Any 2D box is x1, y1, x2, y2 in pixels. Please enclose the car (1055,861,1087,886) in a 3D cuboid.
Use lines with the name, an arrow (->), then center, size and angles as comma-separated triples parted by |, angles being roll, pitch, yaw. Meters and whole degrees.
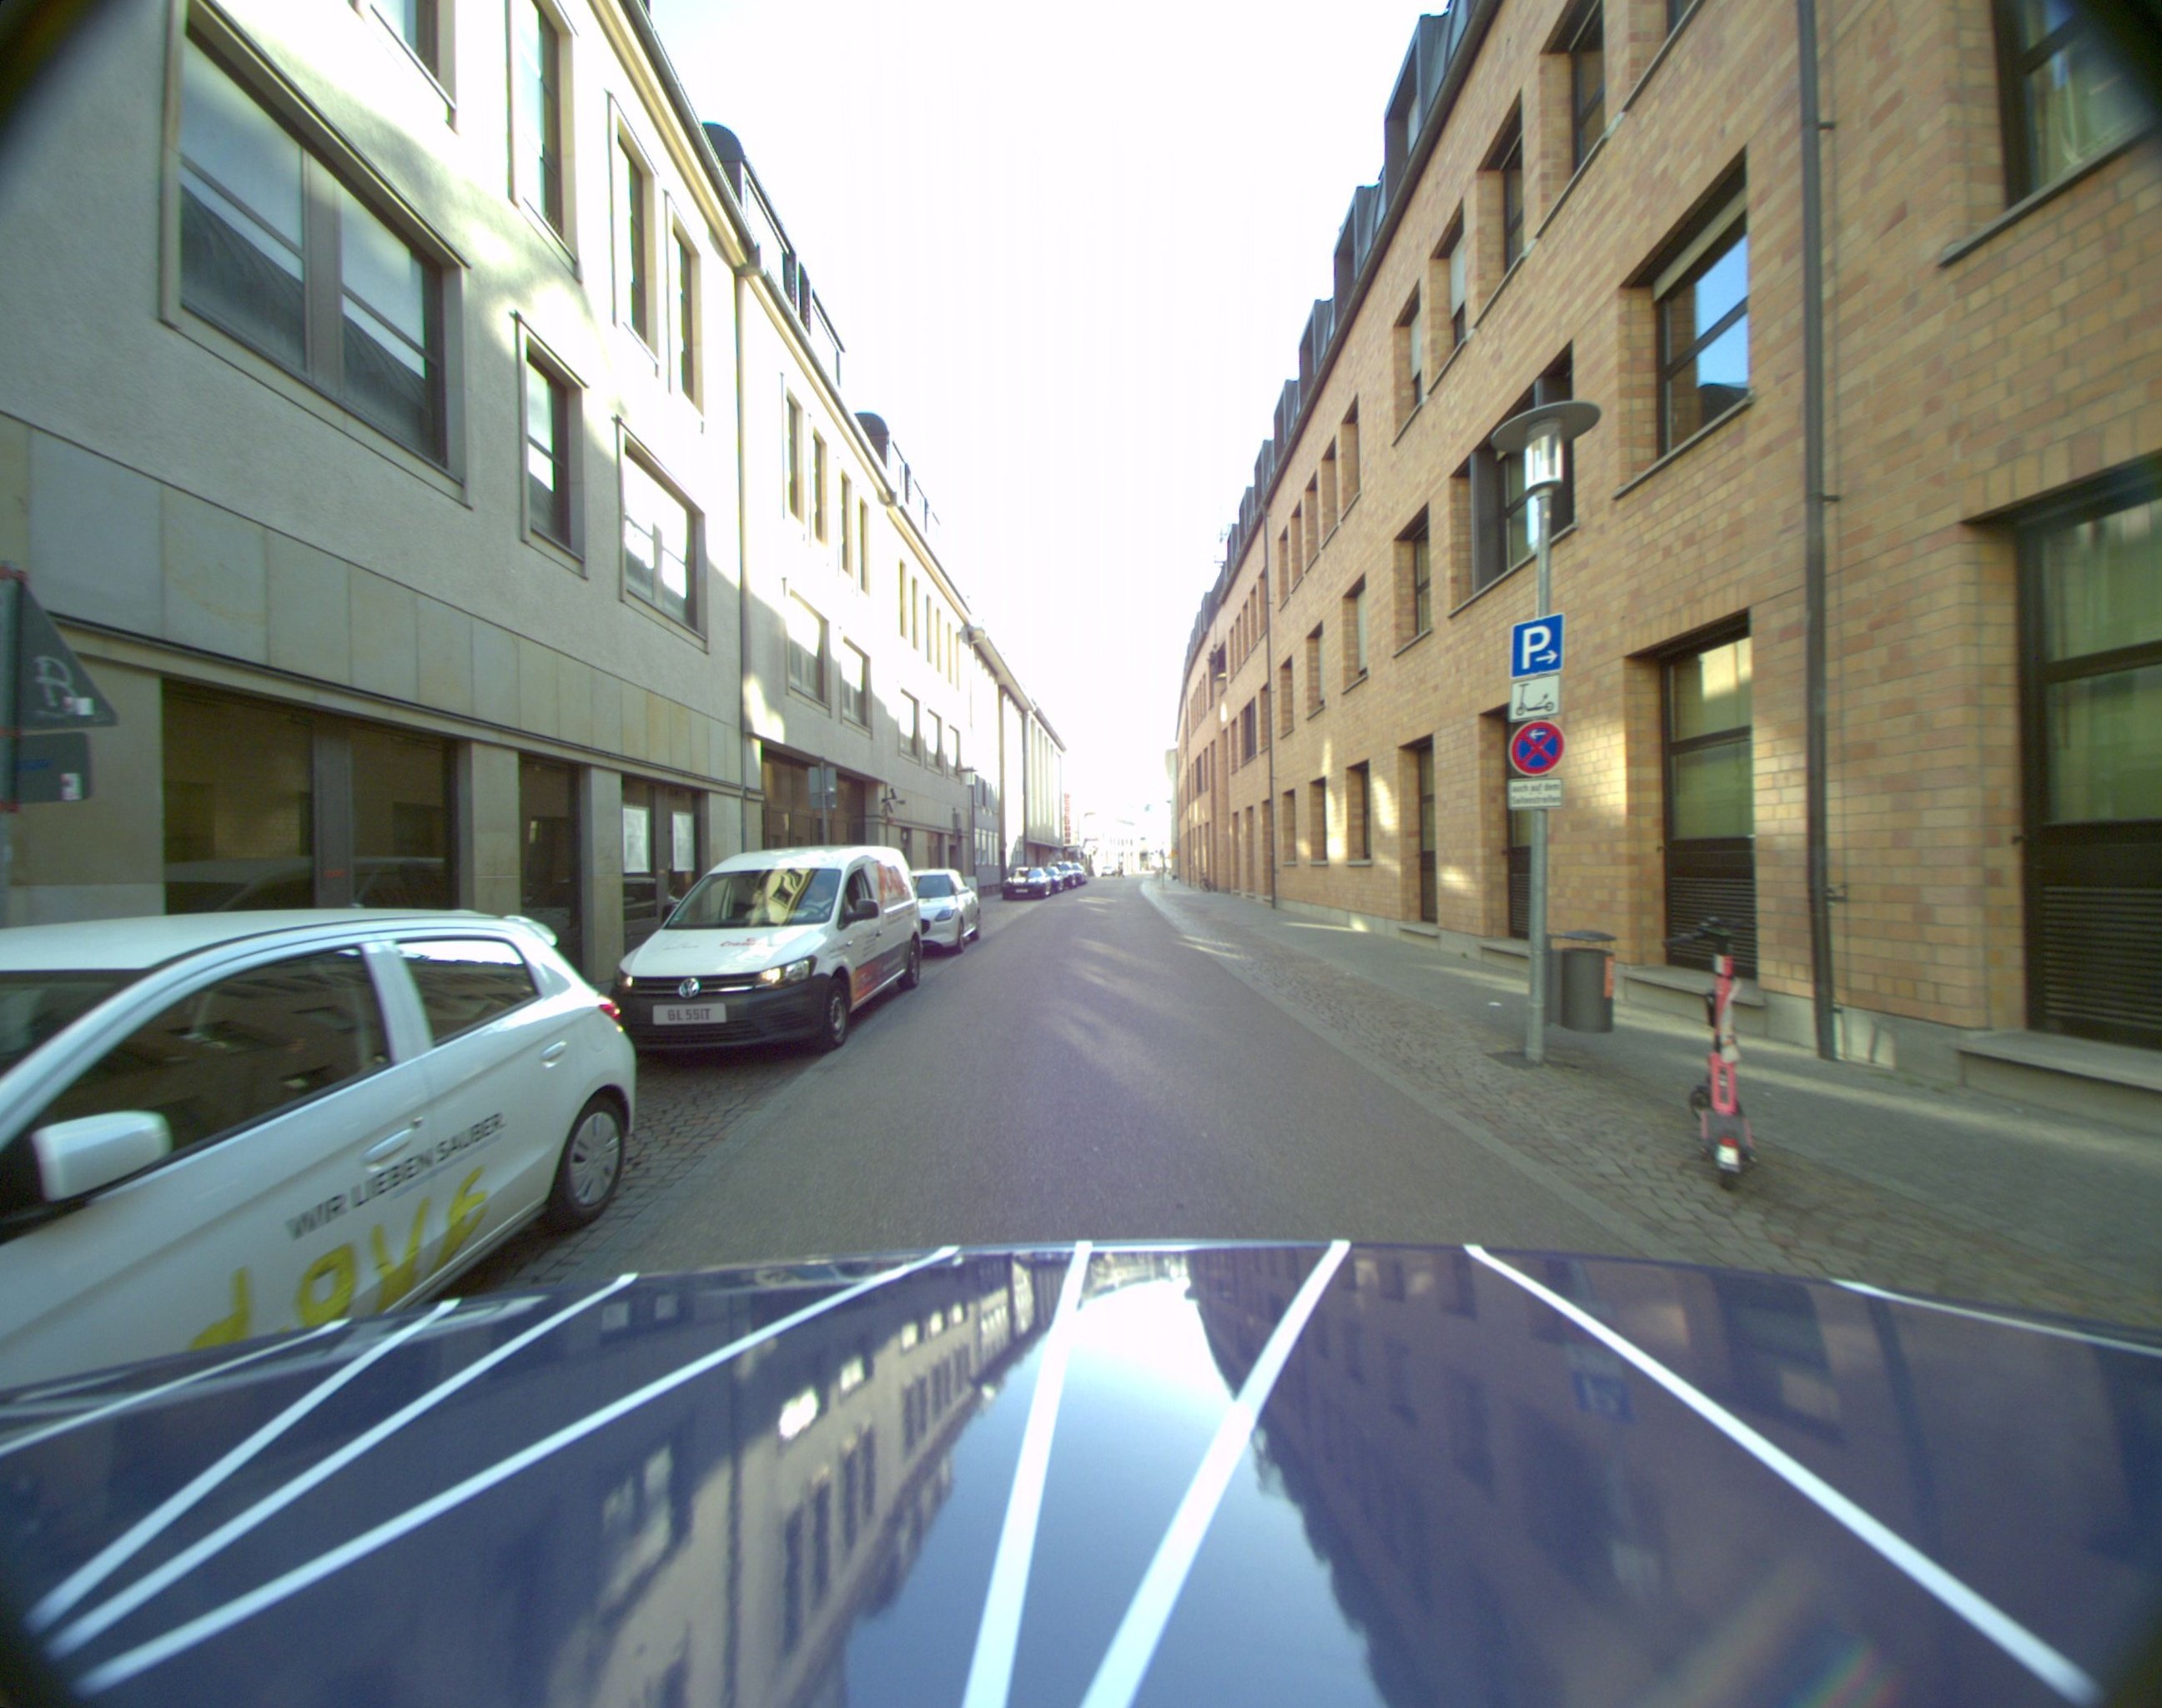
car -> -0.707, 1.359, 54.887 | 1.965, 1.636, 4.197 | -2, 0, 3

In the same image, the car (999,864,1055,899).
car -> -2.397, 1.228, 34.817 | 1.965, 1.399, 4.197 | -2, 0, 3

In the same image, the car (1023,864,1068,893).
car -> -1.882, 1.302, 41.264 | 1.965, 1.399, 4.197 | -2, 0, 3

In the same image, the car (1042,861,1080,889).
car -> -1.190, 1.269, 47.316 | 1.965, 1.527, 4.197 | -2, 0, 3

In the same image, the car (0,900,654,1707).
car -> -2.925, 1.000, 1.880 | 1.736, 1.539, 3.999 | -2, -1, -5

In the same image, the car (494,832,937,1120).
car -> -3.047, 0.875, 7.915 | 1.947, 1.850, 5.195 | -5, 0, 0

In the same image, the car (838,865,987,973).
car -> -2.936, 1.067, 14.102 | 1.776, 1.574, 3.856 | -5, 0, 0

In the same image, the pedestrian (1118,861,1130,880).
pedestrian -> 4.485, 1.754, 79.644 | 0.945, 2.002, 0.899 | -1, 0, -17

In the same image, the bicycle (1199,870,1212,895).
bicycle -> 6.036, 1.359, 36.860 | 0.431, 1.137, 1.691 | -1, 0, 4

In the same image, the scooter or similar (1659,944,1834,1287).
scooter or similar -> 3.122, 1.105, 3.652 | 0.467, 1.217, 1.303 | 0, -1, 34
